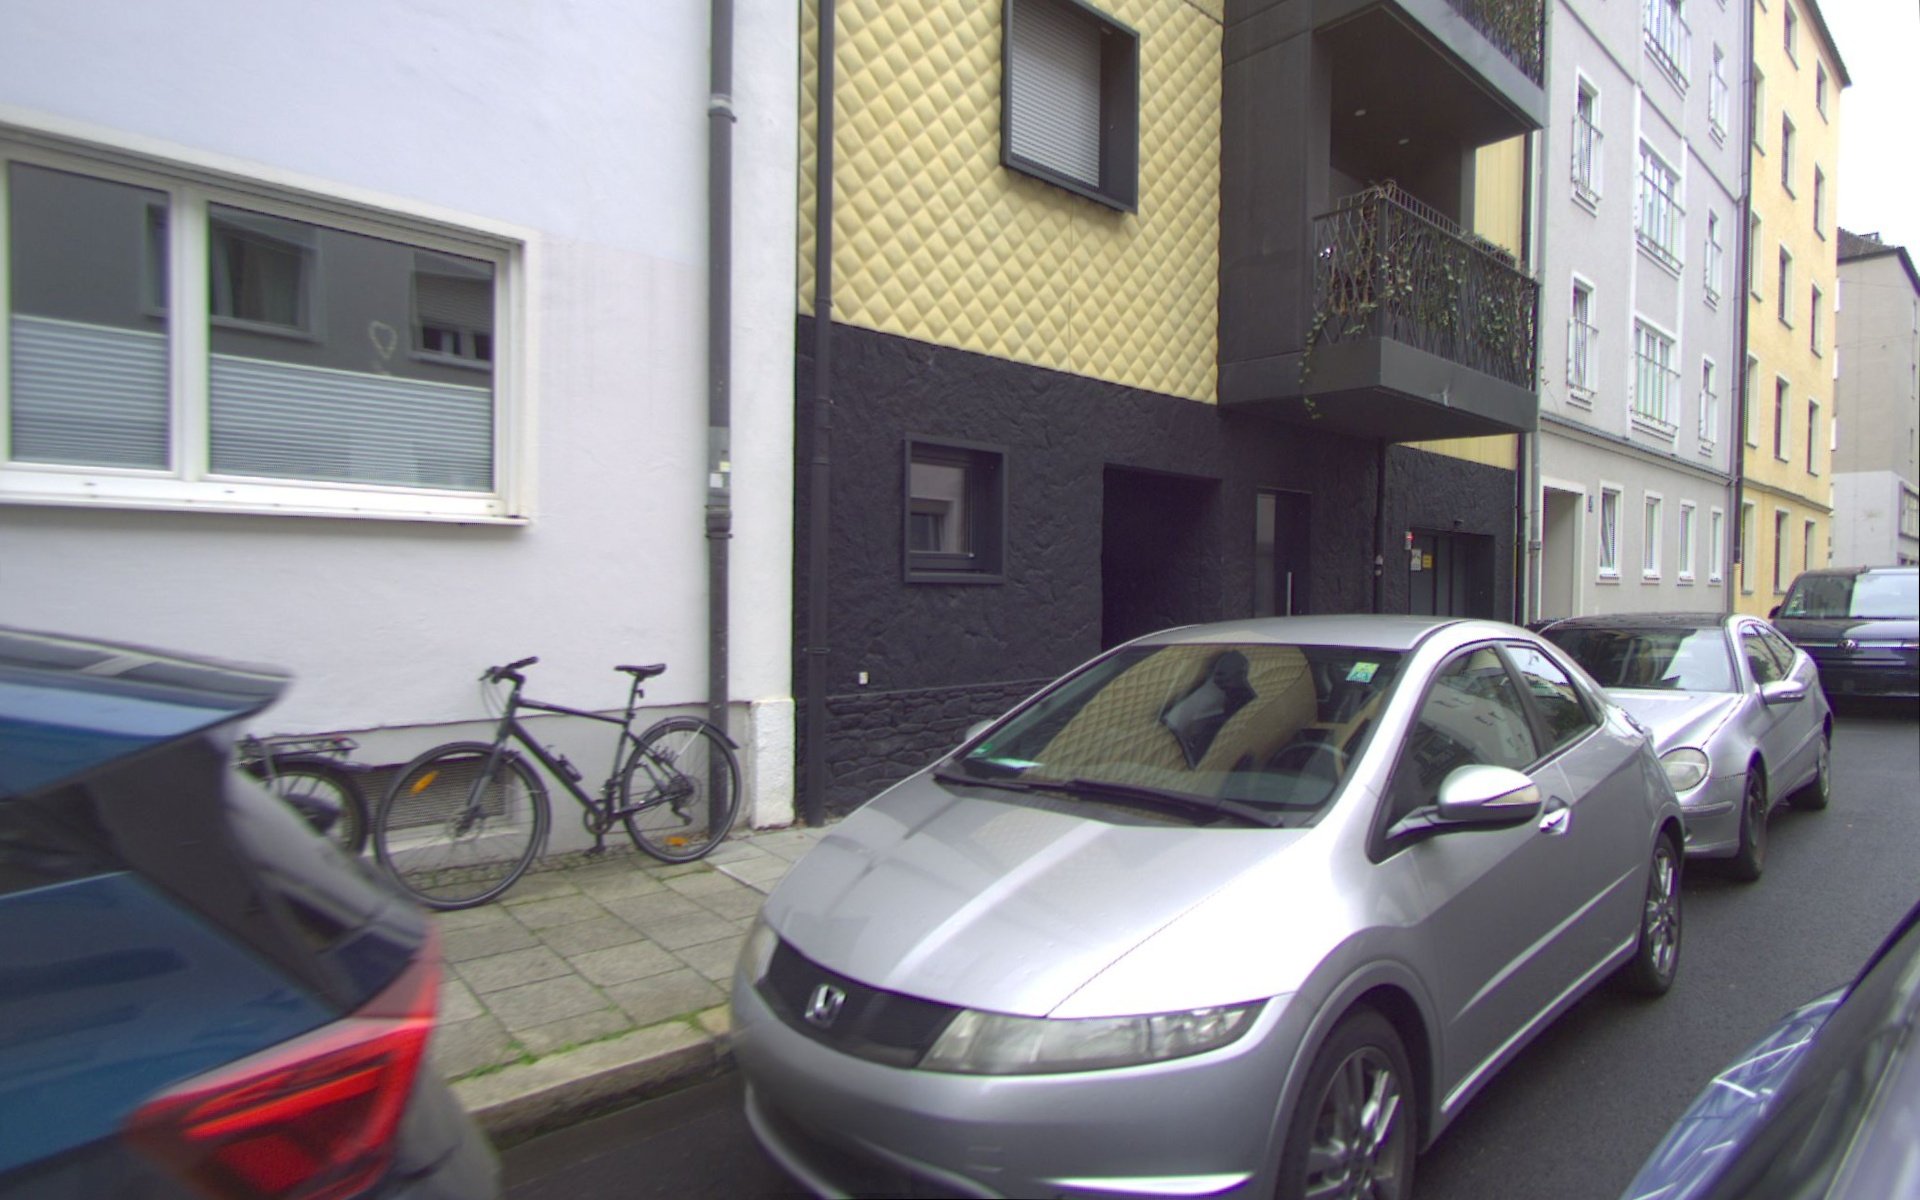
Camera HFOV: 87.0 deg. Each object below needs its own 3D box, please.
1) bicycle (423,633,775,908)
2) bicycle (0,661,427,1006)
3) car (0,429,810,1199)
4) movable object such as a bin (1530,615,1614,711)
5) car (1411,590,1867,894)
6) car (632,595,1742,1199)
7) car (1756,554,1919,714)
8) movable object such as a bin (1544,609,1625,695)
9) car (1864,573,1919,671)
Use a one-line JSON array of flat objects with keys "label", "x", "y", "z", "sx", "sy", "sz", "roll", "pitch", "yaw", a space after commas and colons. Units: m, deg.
[{"label": "bicycle", "x": -1.648, "y": 0.713, "z": 4.780, "sx": 1.495, "sy": 1.061, "sz": 0.477, "roll": 0, "pitch": 0, "yaw": -42}, {"label": "bicycle", "x": -2.855, "y": 0.777, "z": 3.712, "sx": 1.525, "sy": 1.015, "sz": 0.477, "roll": 0, "pitch": 0, "yaw": -42}, {"label": "car", "x": -2.497, "y": 0.660, "z": 0.404, "sx": 4.546, "sy": 1.573, "sz": 1.909, "roll": -1, "pitch": 2, "yaw": -42}, {"label": "movable object such as a bin", "x": 7.881, "y": 0.790, "z": 13.049, "sx": 0.564, "sy": 1.154, "sz": 0.796, "roll": 0, "pitch": 1, "yaw": -42}, {"label": "car", "x": 4.893, "y": 0.681, "z": 7.038, "sx": 4.132, "sy": 1.447, "sz": 1.736, "roll": -1, "pitch": 2, "yaw": -43}, {"label": "car", "x": 1.225, "y": 0.756, "z": 3.578, "sx": 4.190, "sy": 1.449, "sz": 1.761, "roll": -1, "pitch": -1, "yaw": -43}, {"label": "car", "x": 12.719, "y": 0.368, "z": 13.862, "sx": 5.095, "sy": 1.862, "sz": 1.985, "roll": -1, "pitch": 0, "yaw": -42}, {"label": "movable object such as a bin", "x": 8.288, "y": 0.675, "z": 13.445, "sx": 0.537, "sy": 1.067, "sz": 0.796, "roll": 0, "pitch": 1, "yaw": -42}, {"label": "car", "x": 18.460, "y": 0.358, "z": 18.826, "sx": 4.463, "sy": 1.695, "sz": 1.965, "roll": -1, "pitch": 2, "yaw": -42}]
